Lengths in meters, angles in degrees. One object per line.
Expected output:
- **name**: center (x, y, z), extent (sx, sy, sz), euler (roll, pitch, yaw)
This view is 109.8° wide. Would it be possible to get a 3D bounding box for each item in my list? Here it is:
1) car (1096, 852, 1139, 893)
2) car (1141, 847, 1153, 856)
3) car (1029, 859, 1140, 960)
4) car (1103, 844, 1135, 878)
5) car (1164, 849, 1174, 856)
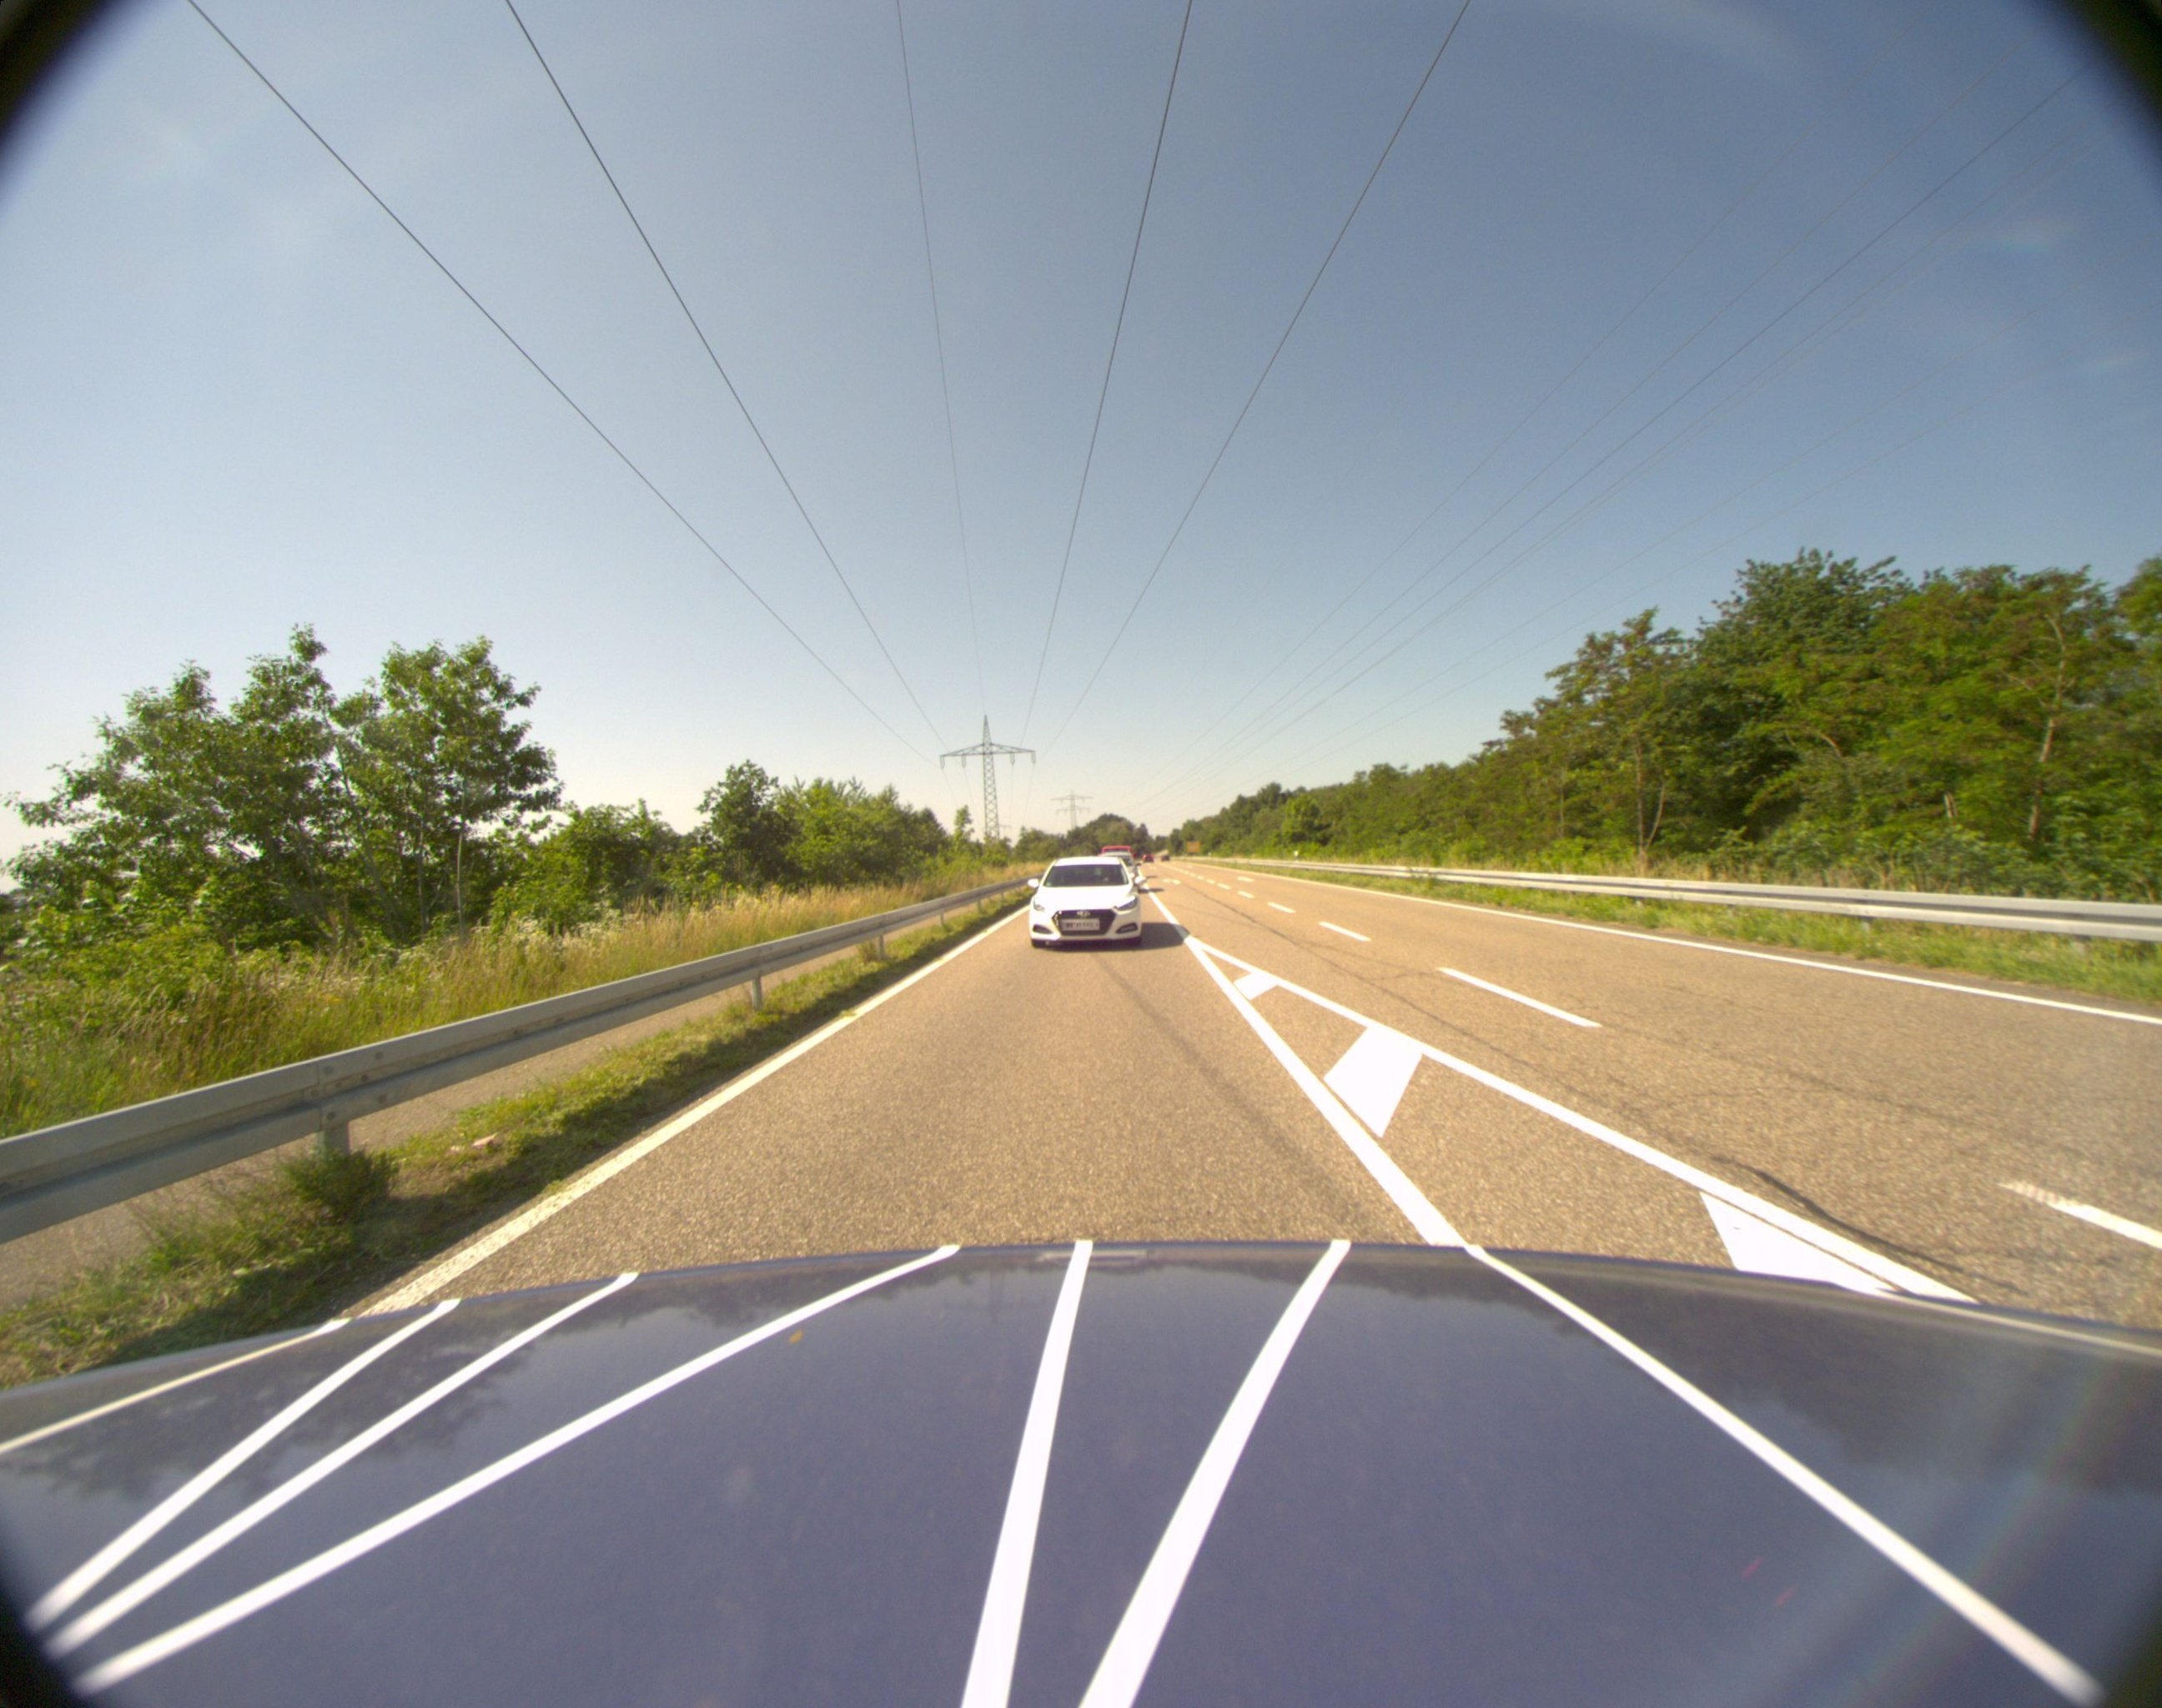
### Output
- **car**: center (1.423, 0.677, 29.702), extent (1.548, 1.460, 3.661), euler (-2, 0, 3)
- **car**: center (11.455, -0.449, 131.815), extent (1.731, 1.482, 4.423), euler (-2, 0, 2)
- **car**: center (0.179, 0.874, 13.931), extent (1.683, 1.472, 4.474), euler (-1, 0, 3)
- **car**: center (2.306, 0.410, 46.543), extent (1.794, 1.893, 4.838), euler (-2, 0, 3)
- **car**: center (18.214, -0.259, 157.390), extent (1.663, 1.433, 4.215), euler (-2, 0, 3)
